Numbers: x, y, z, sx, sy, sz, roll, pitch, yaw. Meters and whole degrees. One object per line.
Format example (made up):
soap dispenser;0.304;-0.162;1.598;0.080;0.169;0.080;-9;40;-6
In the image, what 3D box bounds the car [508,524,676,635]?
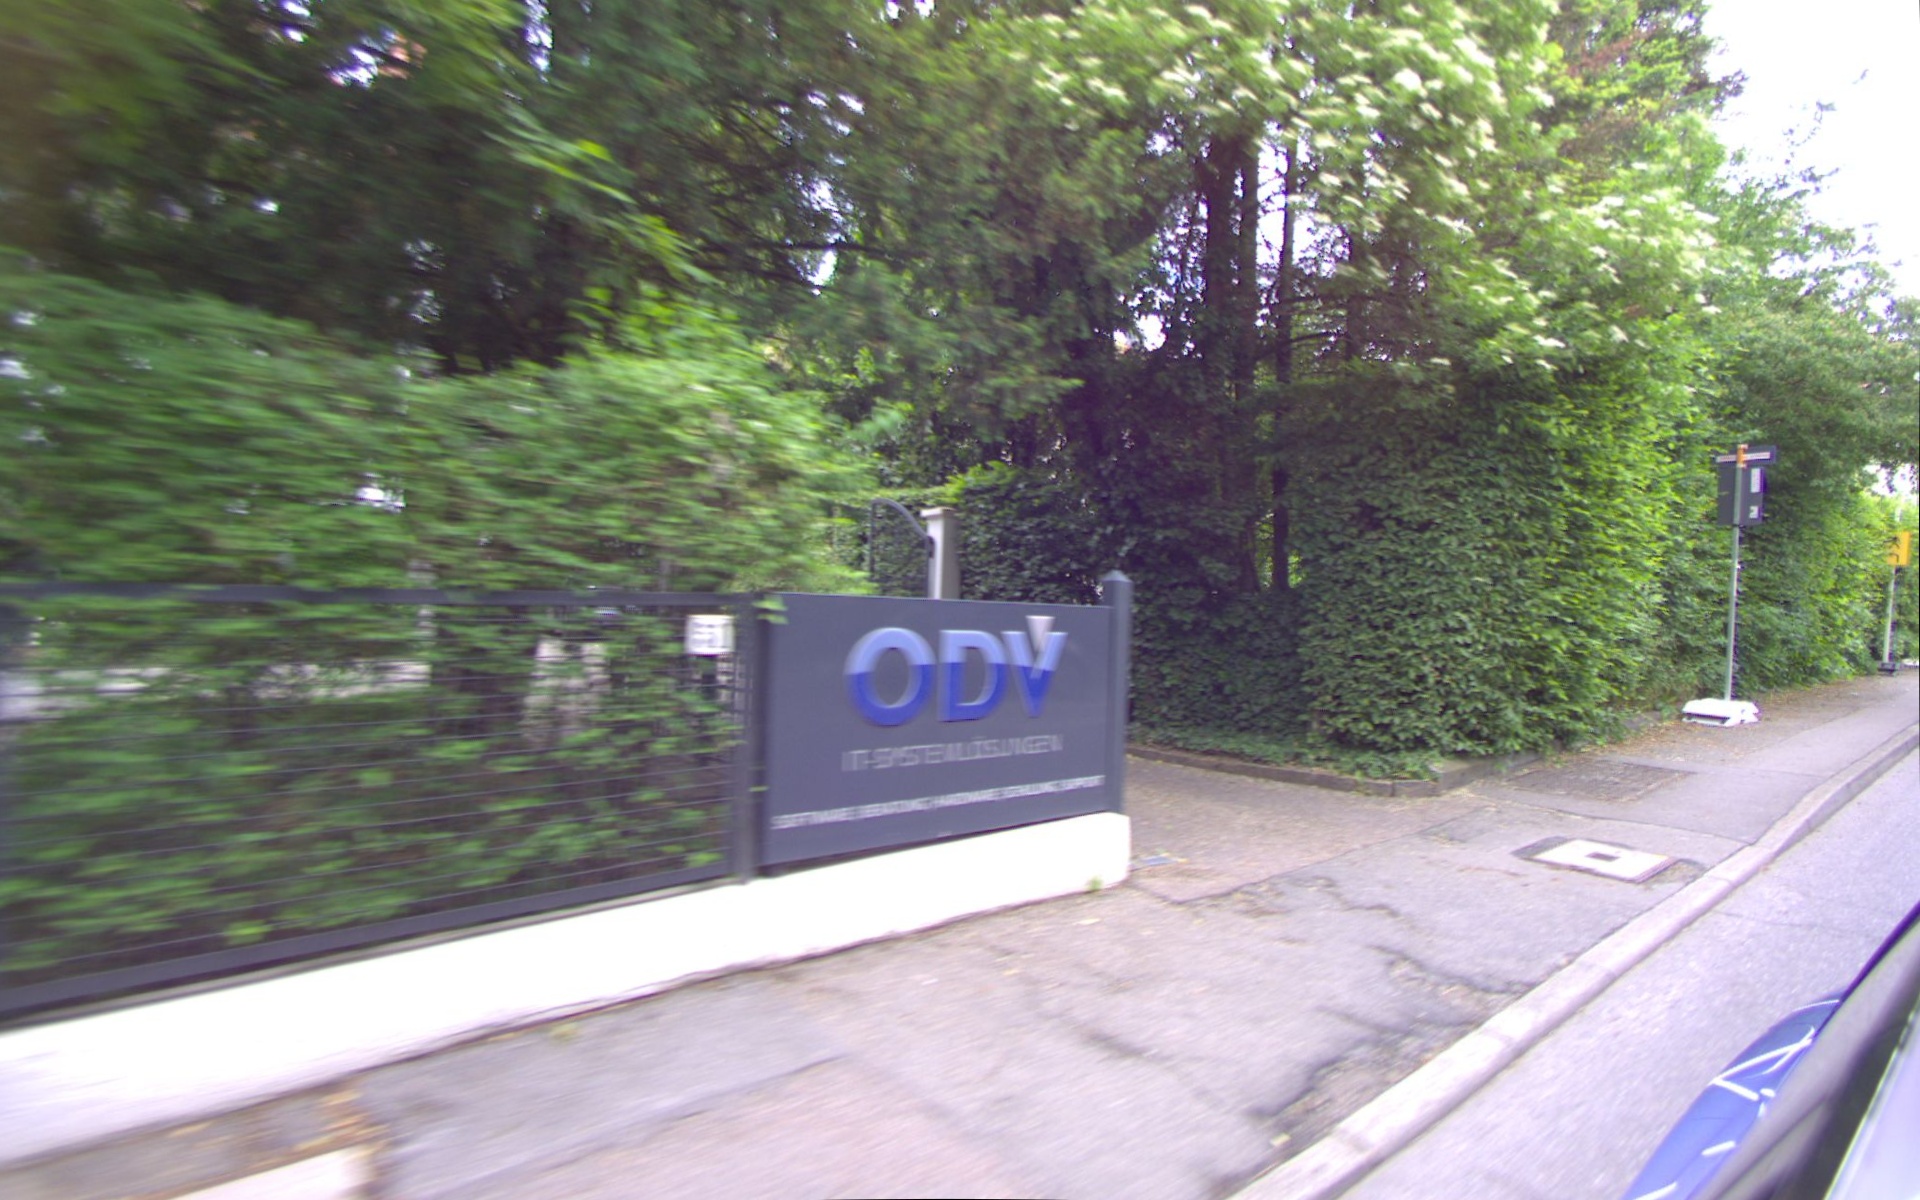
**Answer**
car;-7.611;-0.412;20.732;1.965;2.039;3.994;0;1;-41
